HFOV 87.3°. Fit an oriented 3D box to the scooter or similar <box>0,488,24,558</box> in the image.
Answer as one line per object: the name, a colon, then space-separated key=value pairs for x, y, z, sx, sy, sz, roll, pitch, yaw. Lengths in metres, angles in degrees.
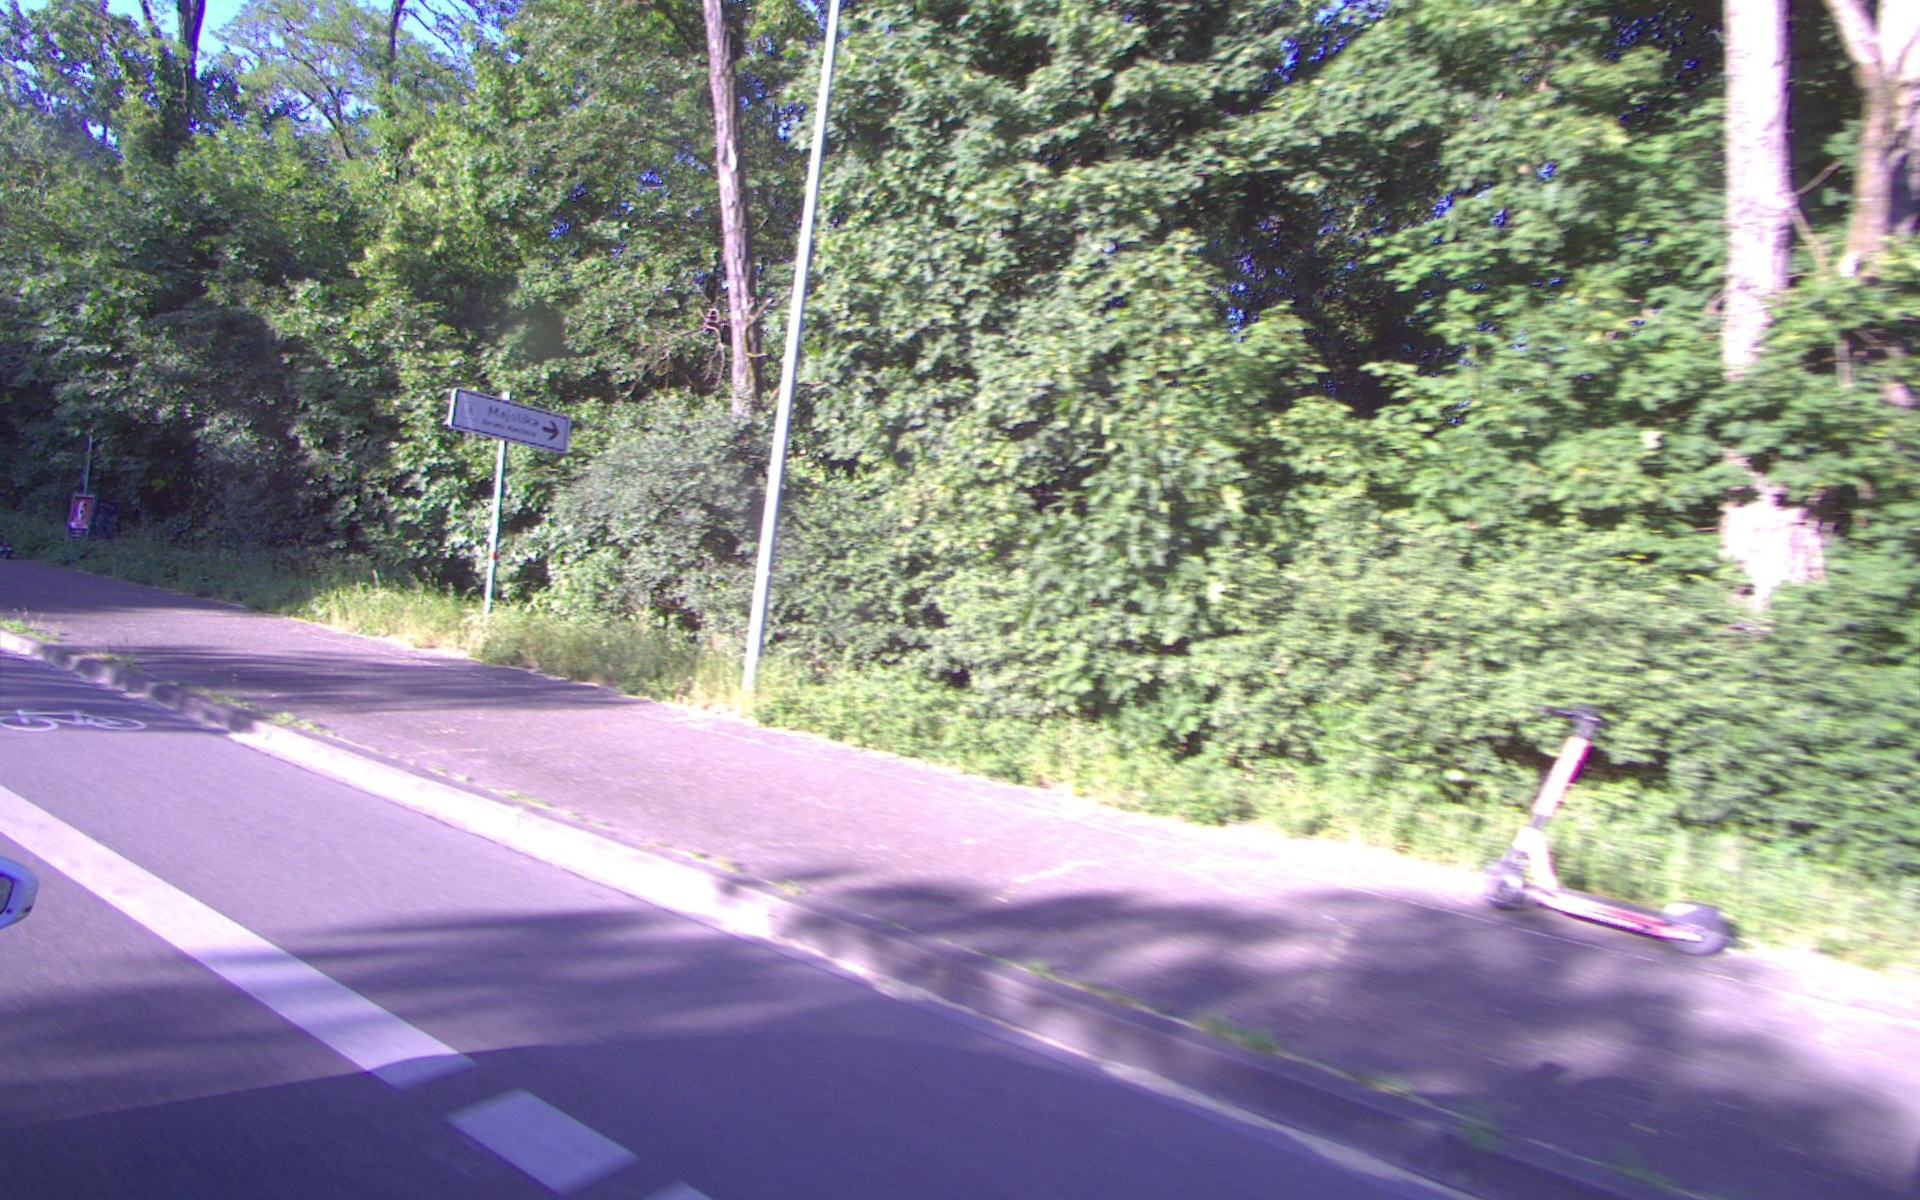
scooter or similar: x=-19.288 y=-1.582 z=19.755 sx=1.452 sy=1.323 sz=0.467 roll=7 pitch=2 yaw=9

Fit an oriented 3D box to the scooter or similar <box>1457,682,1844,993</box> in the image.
scooter or similar: x=3.613 y=1.183 z=5.409 sx=1.515 sy=1.266 sz=0.533 roll=7 pitch=2 yaw=32

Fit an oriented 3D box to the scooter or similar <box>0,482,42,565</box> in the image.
scooter or similar: x=-17.830 y=-1.466 z=18.648 sx=1.653 sy=1.442 sz=0.682 roll=7 pitch=2 yaw=31
